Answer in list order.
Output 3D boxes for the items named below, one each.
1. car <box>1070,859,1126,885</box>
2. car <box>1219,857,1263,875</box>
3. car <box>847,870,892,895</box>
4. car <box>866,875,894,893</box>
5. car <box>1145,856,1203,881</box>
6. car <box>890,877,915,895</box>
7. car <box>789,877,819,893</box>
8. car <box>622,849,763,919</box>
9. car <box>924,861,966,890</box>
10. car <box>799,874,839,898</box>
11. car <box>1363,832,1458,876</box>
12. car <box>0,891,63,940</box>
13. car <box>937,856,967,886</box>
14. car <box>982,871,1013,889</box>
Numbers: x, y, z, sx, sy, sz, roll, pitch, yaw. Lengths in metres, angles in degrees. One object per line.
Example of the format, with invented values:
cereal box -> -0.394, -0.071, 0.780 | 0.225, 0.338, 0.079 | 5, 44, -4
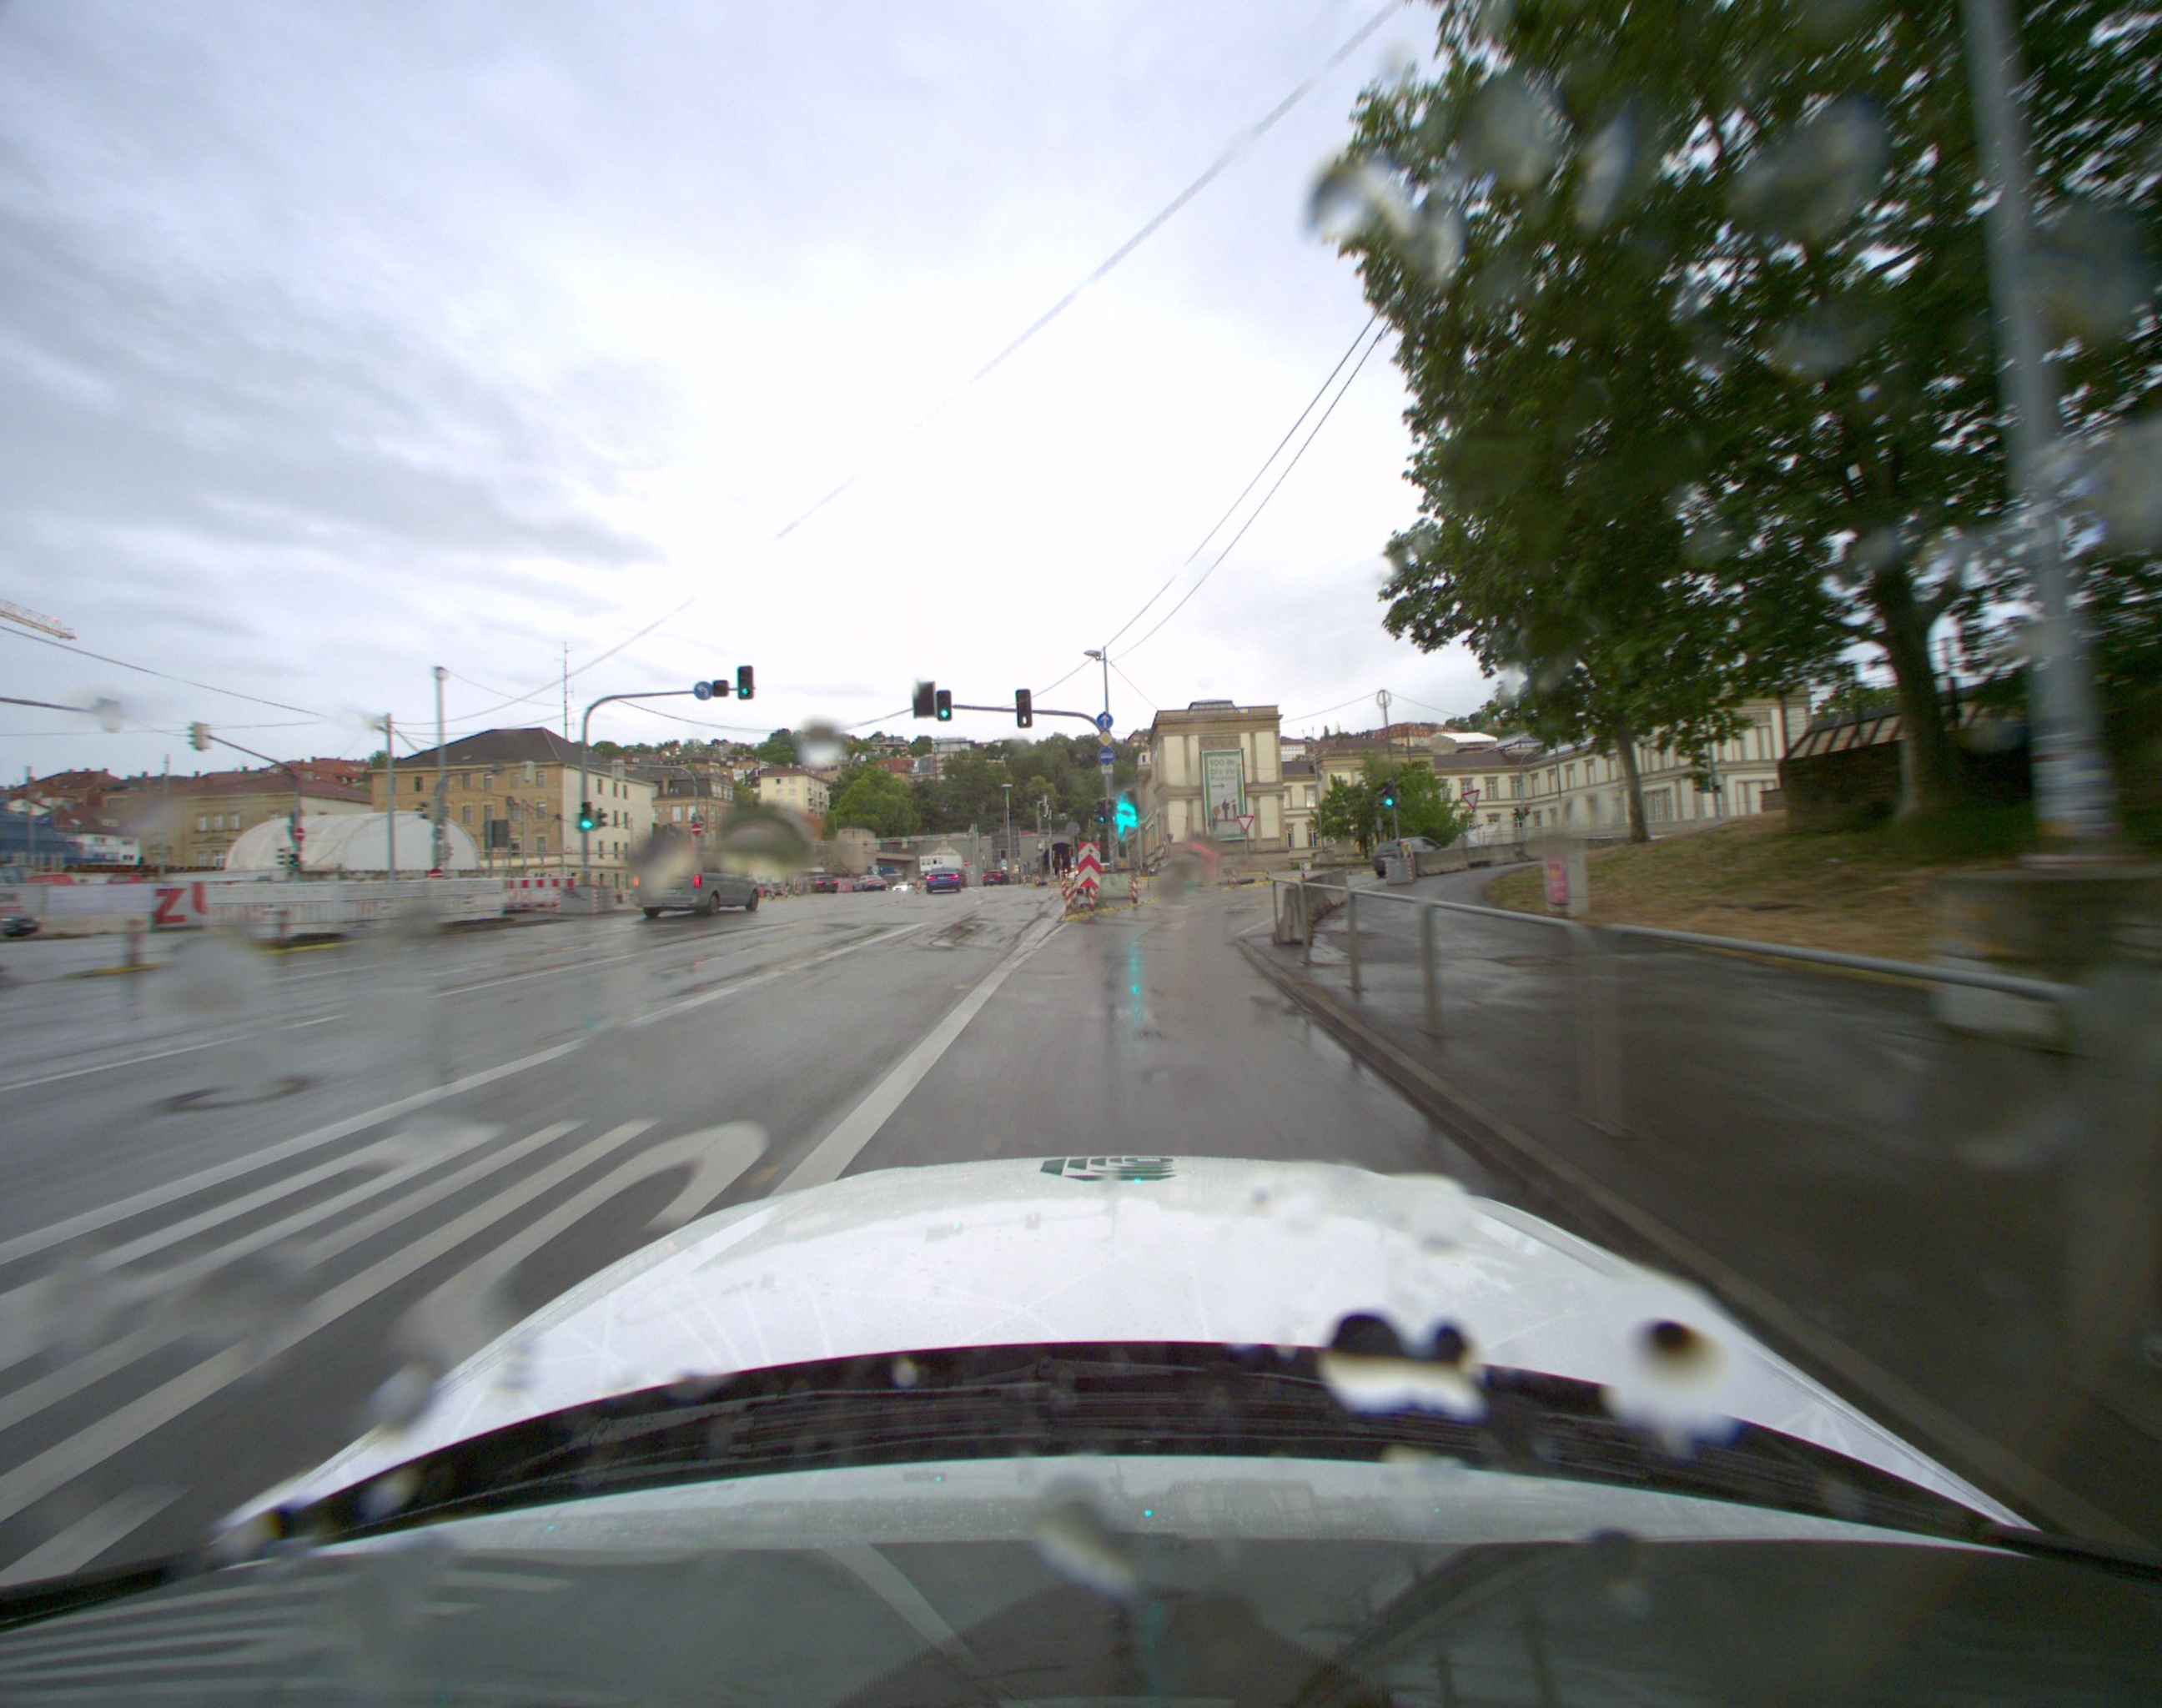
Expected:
car -> 1.419, 1.549, 69.728 | 4.616, 2.013, 1.998 | -2, 0, -3
car -> 16.289, 1.233, 82.971 | 4.165, 1.701, 1.823 | -2, 0, 2
car -> -18.174, 2.453, 69.867 | 2.011, 2.013, 4.244 | -2, 0, -40
car -> -24.075, 3.599, 97.861 | 1.984, 2.013, 4.006 | -2, 0, 6
car -> 7.994, 1.213, 70.183 | 4.664, 2.013, 1.998 | -2, 0, -3
car -> -23.188, 4.144, 105.916 | 1.984, 2.013, 4.006 | -2, 0, 6
car -> -27.983, 3.070, 82.285 | 1.789, 1.464, 3.957 | -2, 0, -35
car -> -11.417, 0.836, 24.344 | 1.988, 1.839, 4.681 | -2, -1, -1
car -> -7.353, 1.151, 44.340 | 1.992, 1.438, 3.990 | -2, -1, -7
car -> -21.065, 2.526, 65.328 | 1.790, 1.750, 3.954 | -2, 0, -38
car -> 13.074, -0.025, 32.242 | 3.775, 1.427, 1.657 | -5, 2, -36
car -> -38.418, 2.201, 27.991 | 3.800, 1.566, 1.849 | -2, 0, -19
car -> -9.454, 1.219, 59.587 | 1.994, 2.013, 3.985 | -2, 0, -10
car -> -7.890, 2.432, 77.163 | 1.983, 1.634, 4.008 | -1, 0, 7
